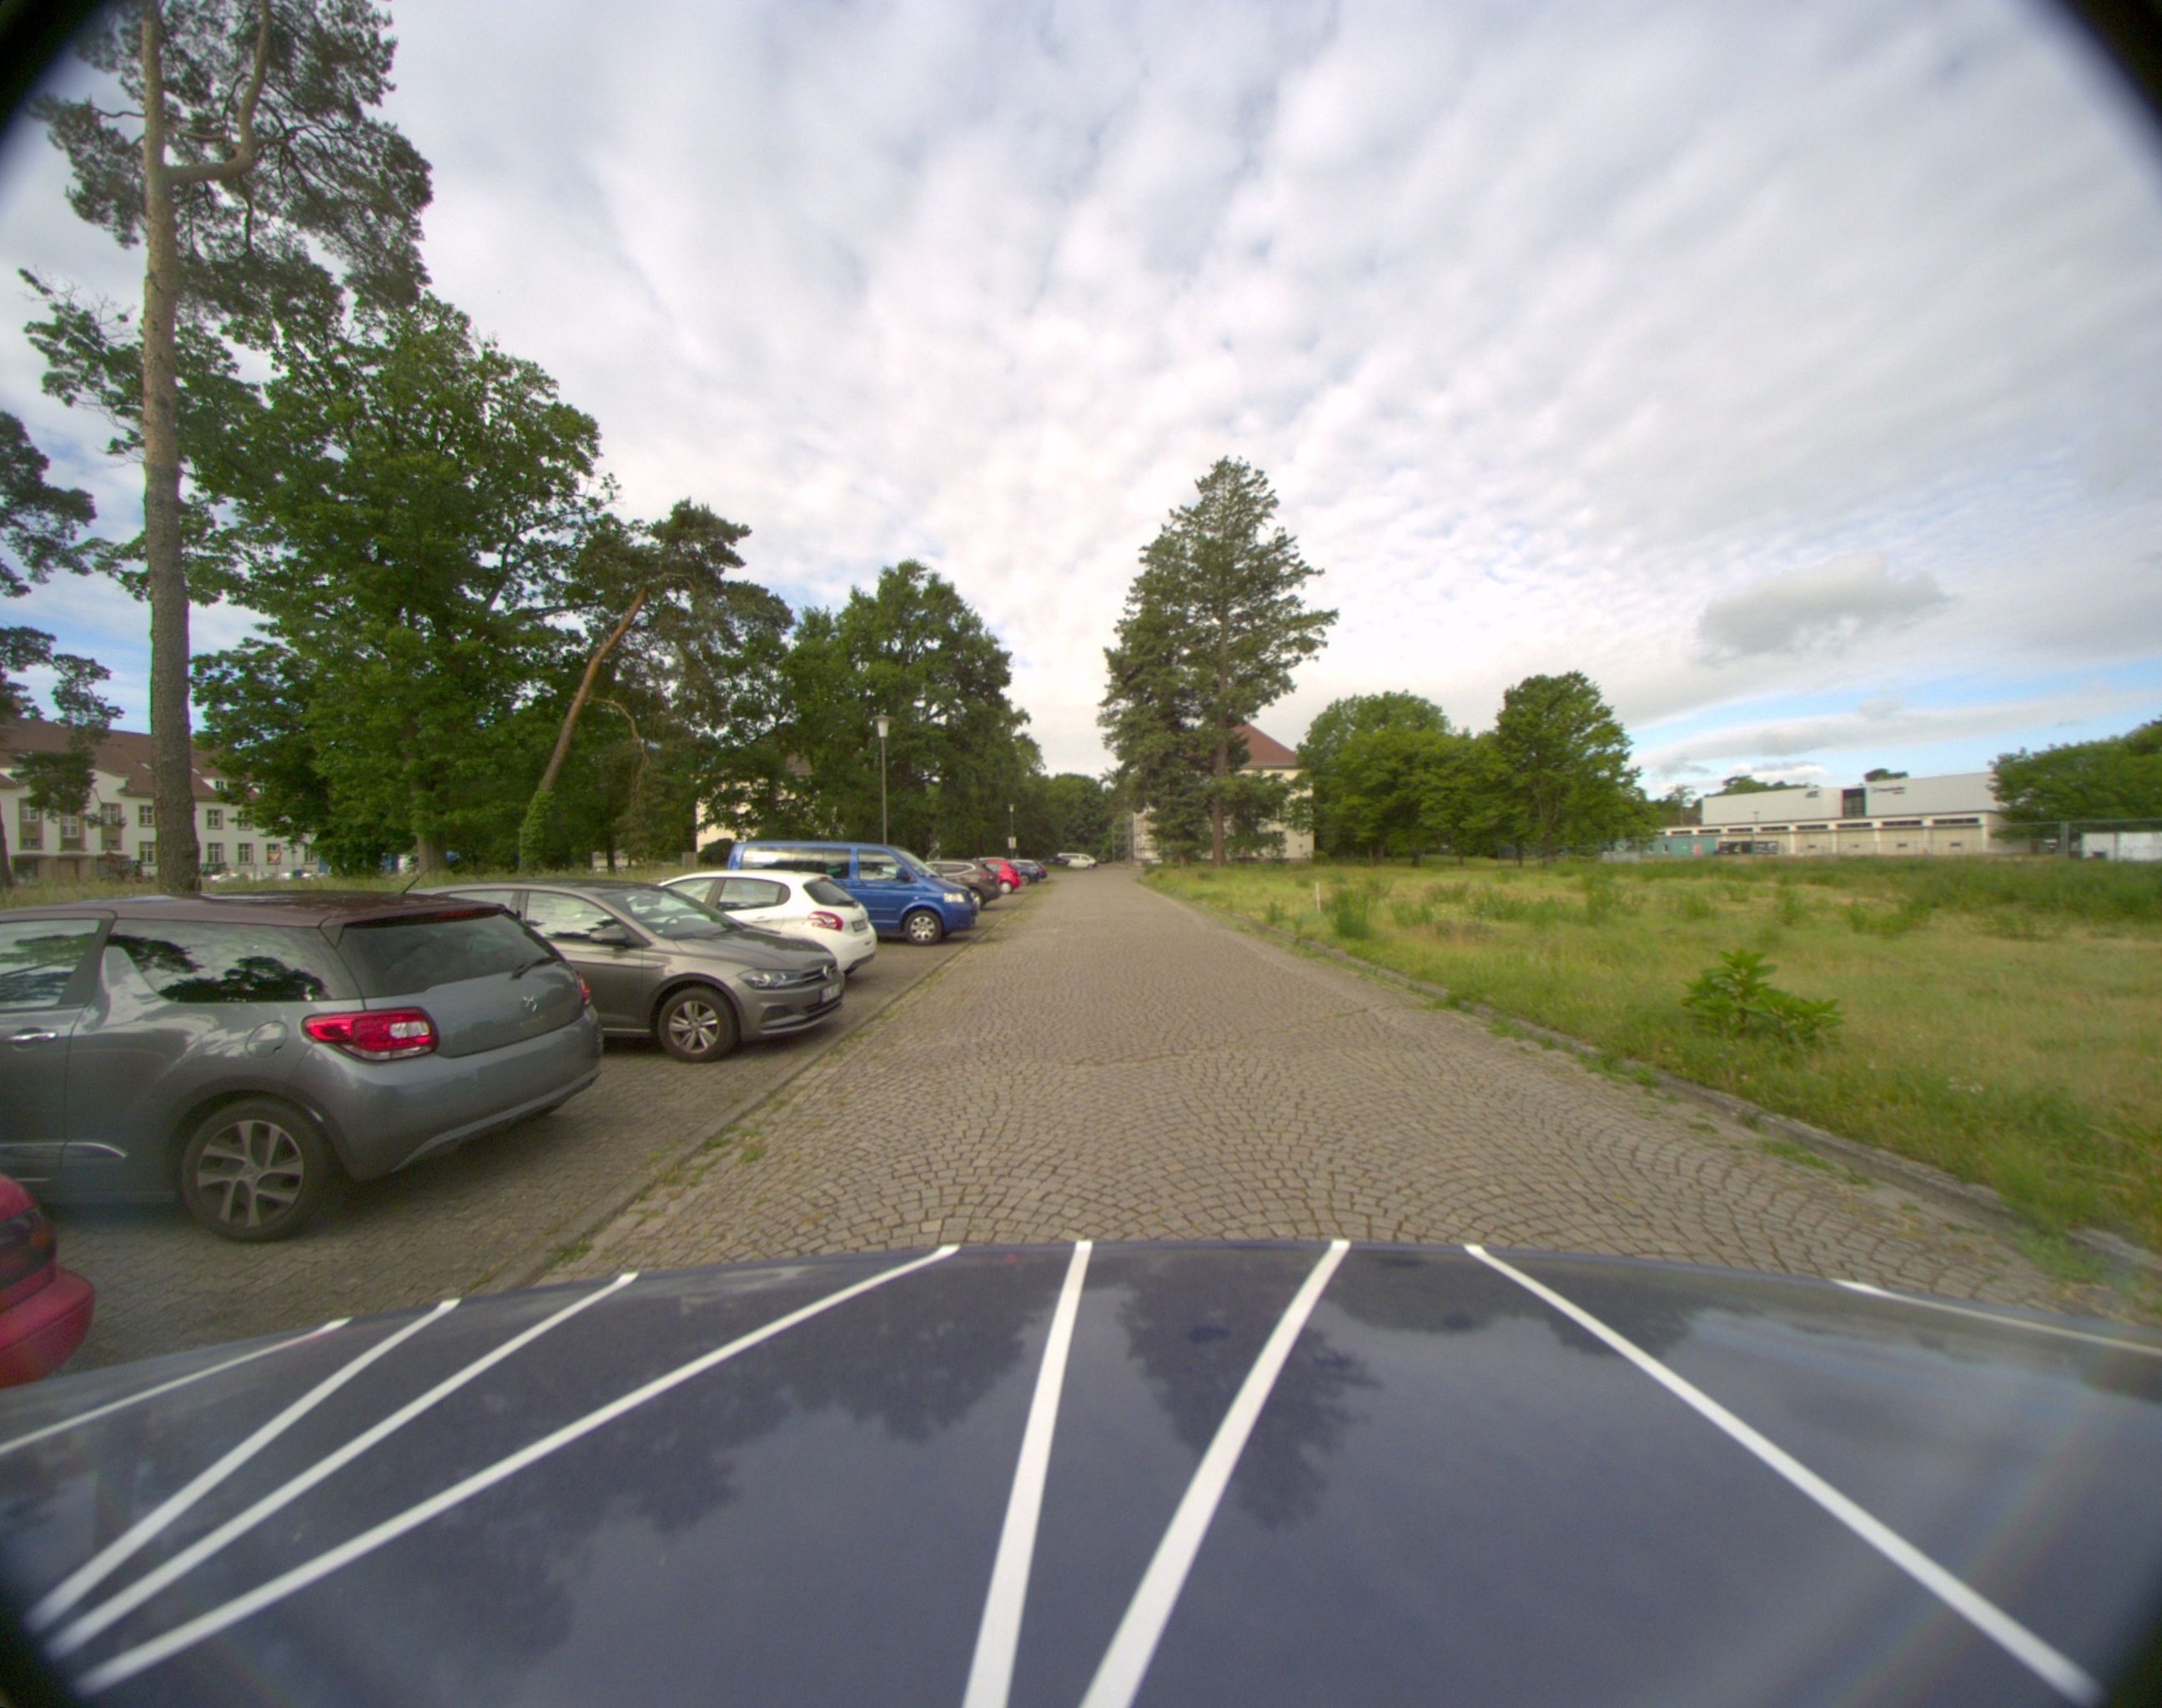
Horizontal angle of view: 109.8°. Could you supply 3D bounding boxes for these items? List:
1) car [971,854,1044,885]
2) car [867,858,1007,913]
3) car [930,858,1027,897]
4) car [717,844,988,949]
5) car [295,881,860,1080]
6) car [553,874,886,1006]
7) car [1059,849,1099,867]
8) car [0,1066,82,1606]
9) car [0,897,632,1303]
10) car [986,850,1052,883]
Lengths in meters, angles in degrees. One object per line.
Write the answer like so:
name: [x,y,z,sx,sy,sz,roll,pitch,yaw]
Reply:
car: [-4.242,0.894,44.567,4.007,1.752,2.000,-1,0,2]
car: [-4.449,0.962,23.987,3.997,1.601,2.000,-1,0,1]
car: [-4.574,1.032,34.321,3.997,1.521,2.000,-2,0,1]
car: [-4.343,0.782,15.044,4.749,1.928,2.000,0,0,0]
car: [-4.202,1.025,6.795,3.848,1.448,1.820,-1,0,3]
car: [-4.404,1.026,9.621,3.408,1.443,1.637,-1,0,1]
car: [-0.214,0.551,97.807,5.030,2.164,2.000,-1,0,2]
car: [-4.301,1.147,1.171,3.600,1.200,1.495,-1,0,1]
car: [-4.760,1.052,3.911,3.787,1.497,1.799,-1,0,-1]
car: [-3.956,0.778,48.962,3.996,2.002,2.000,-1,0,2]
